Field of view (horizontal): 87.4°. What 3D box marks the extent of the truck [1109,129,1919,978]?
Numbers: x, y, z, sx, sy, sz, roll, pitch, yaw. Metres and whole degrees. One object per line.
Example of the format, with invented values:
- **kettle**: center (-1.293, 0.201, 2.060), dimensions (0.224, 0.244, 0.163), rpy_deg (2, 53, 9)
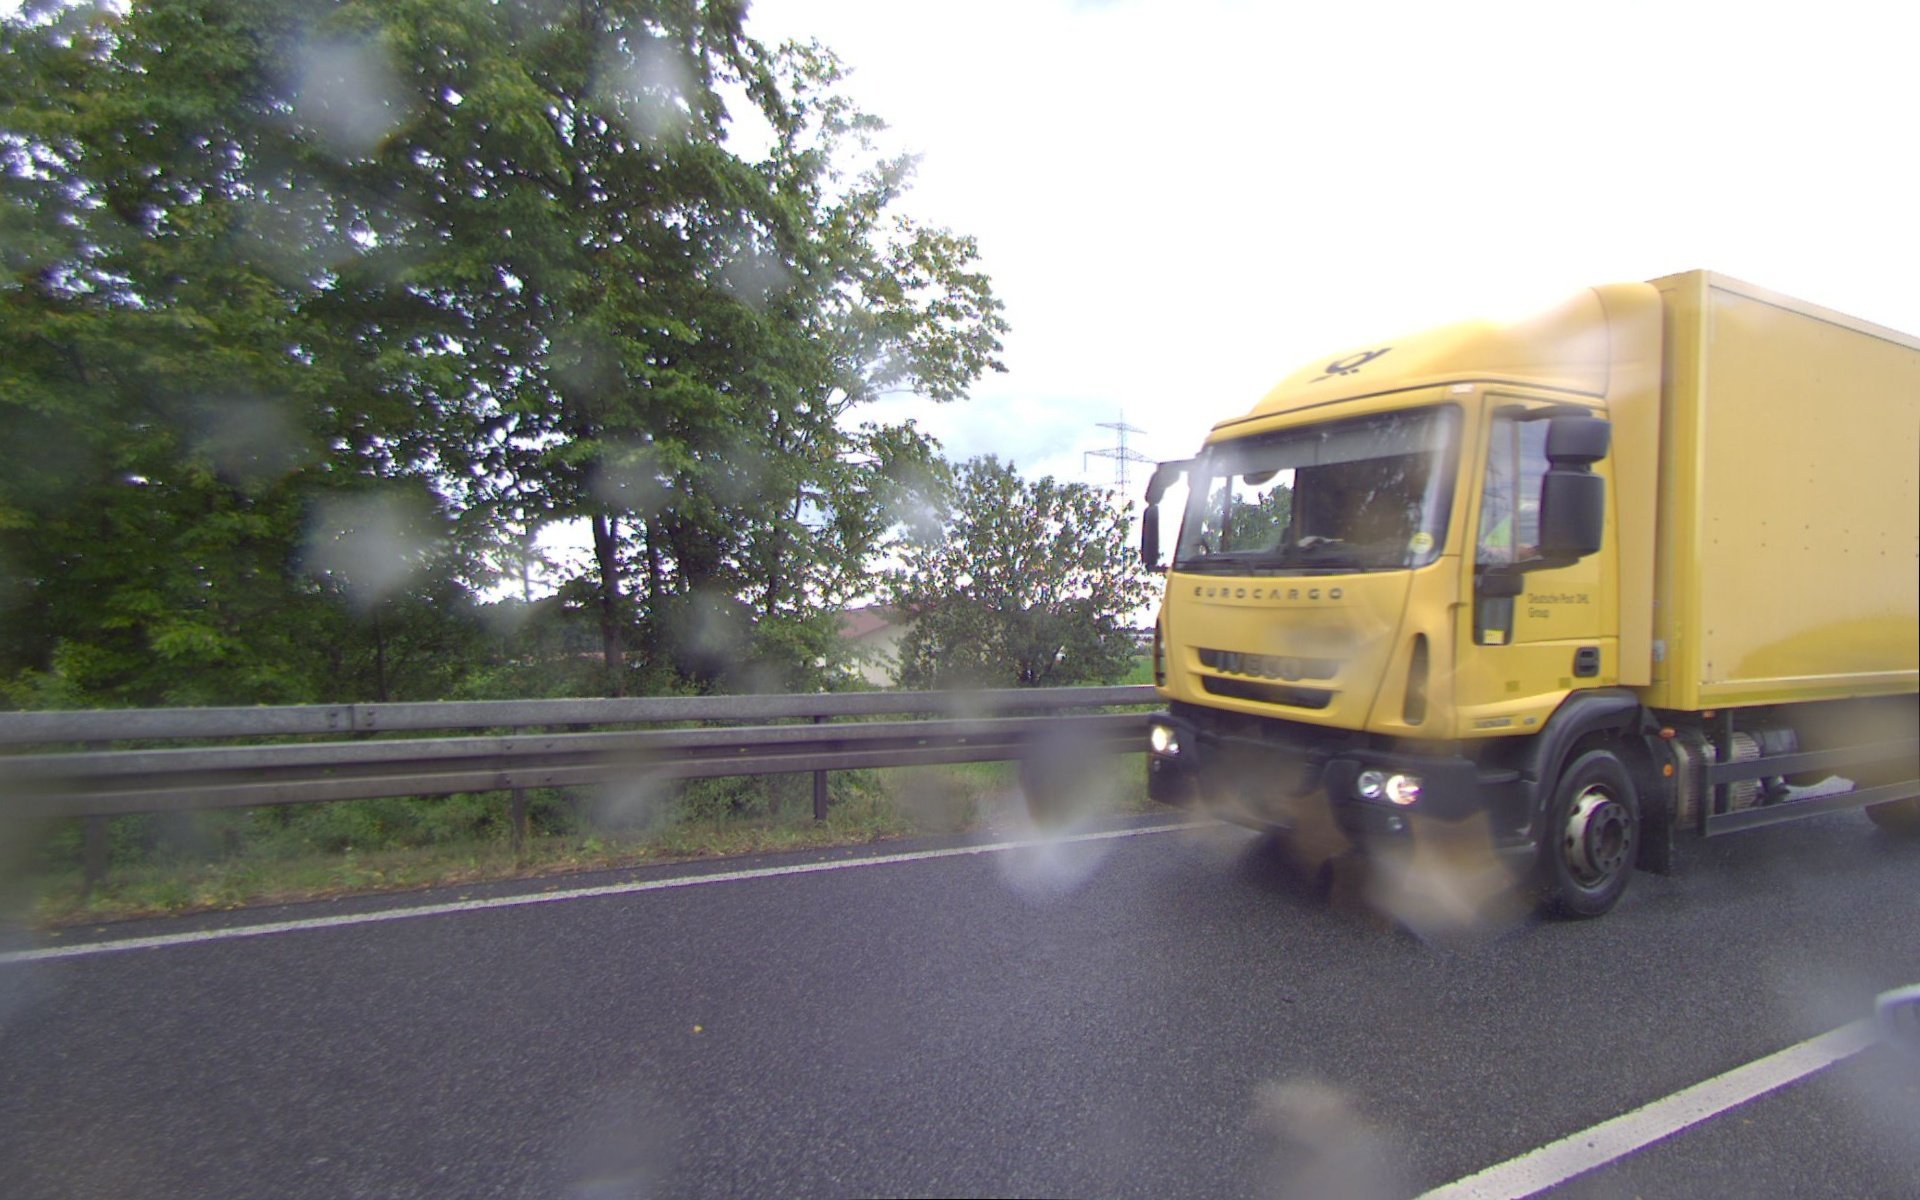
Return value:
- **truck**: center (5.609, -0.074, 7.545), dimensions (9.075, 3.475, 2.759), rpy_deg (2, -1, -29)
